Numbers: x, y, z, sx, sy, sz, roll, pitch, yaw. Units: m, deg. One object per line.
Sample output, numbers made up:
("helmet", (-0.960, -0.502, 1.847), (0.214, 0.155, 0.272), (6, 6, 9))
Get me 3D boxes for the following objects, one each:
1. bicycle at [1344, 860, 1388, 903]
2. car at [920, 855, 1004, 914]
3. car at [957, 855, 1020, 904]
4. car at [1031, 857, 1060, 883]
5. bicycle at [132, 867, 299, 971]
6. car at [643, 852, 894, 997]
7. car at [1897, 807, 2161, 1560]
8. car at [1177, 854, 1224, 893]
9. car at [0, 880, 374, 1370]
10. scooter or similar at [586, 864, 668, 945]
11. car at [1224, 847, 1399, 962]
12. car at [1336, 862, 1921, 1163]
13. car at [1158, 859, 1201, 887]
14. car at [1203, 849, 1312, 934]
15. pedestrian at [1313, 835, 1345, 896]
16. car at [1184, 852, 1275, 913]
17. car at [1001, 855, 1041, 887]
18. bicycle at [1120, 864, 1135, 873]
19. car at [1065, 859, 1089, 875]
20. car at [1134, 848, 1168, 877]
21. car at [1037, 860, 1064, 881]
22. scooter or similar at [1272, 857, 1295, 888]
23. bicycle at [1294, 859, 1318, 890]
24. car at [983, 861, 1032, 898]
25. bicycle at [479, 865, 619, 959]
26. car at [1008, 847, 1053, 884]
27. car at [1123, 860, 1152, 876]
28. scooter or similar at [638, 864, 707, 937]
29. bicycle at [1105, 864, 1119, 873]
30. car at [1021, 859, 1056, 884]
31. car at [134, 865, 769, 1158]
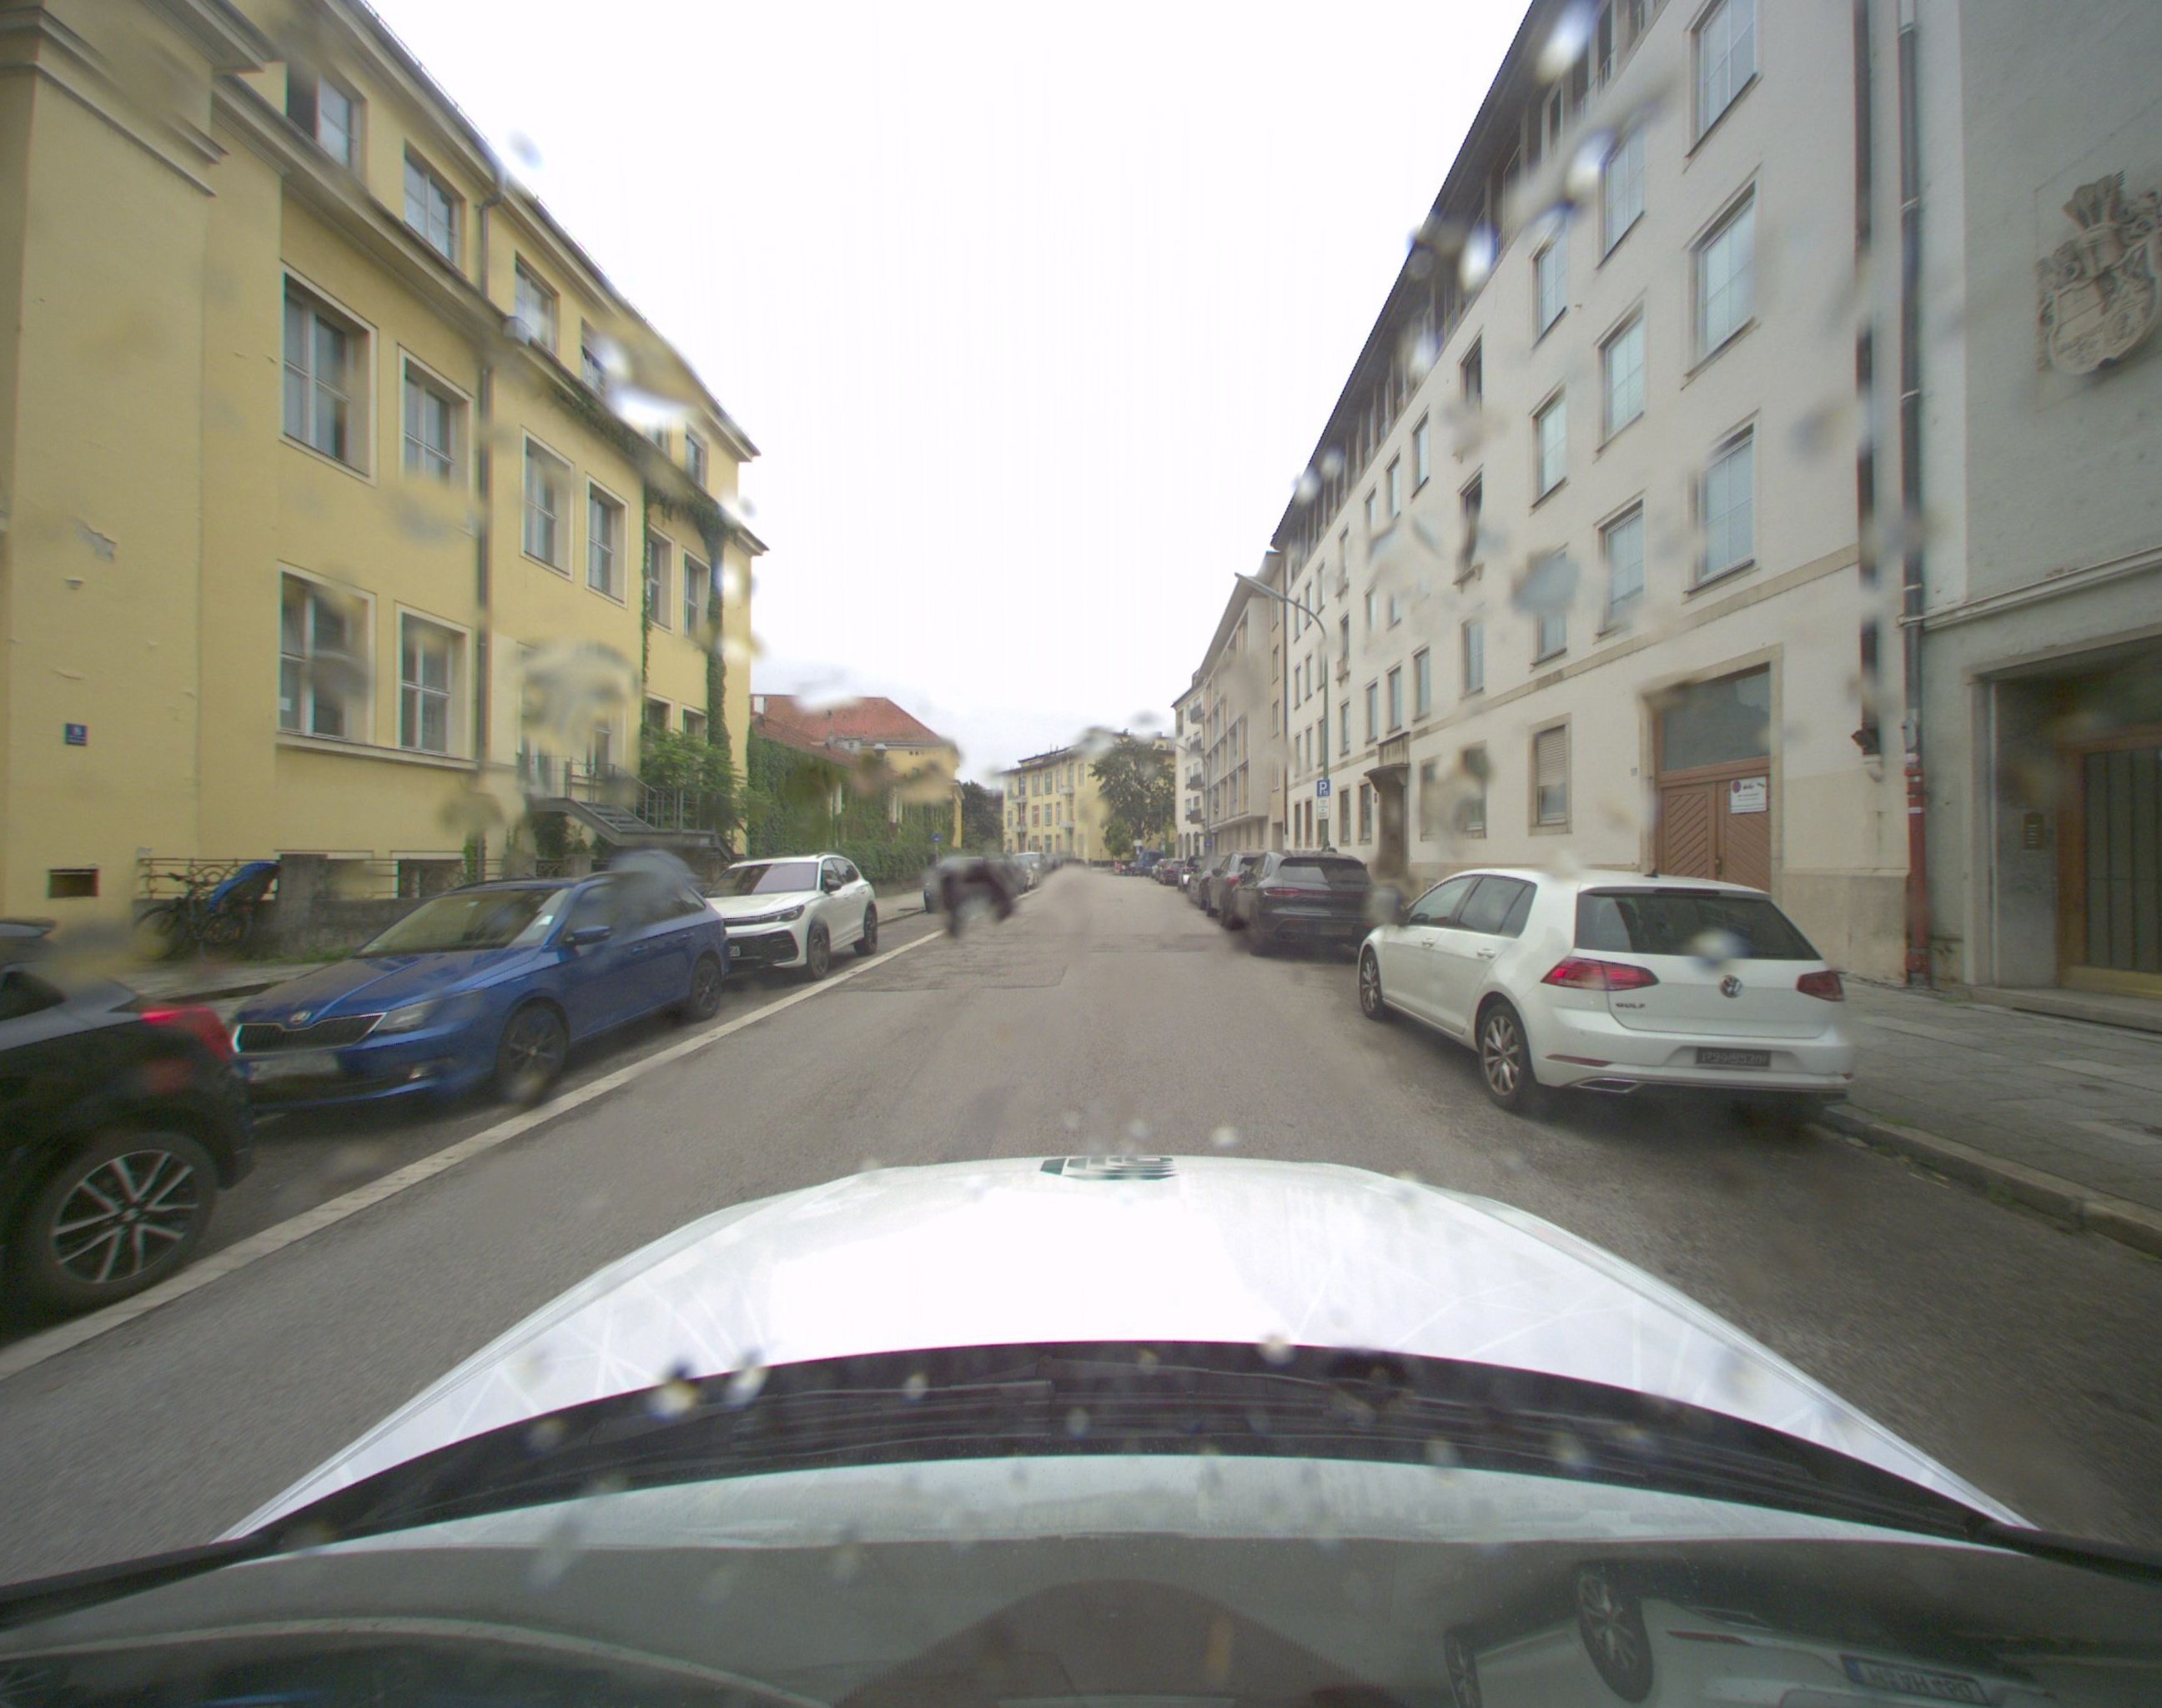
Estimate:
("bicycle", (8.636, 0.808, 24.744), (0.511, 1.222, 1.985), (0, 0, -4))
("car", (-3.588, 0.887, 25.476), (1.783, 1.586, 4.818), (-3, 0, 1))
("car", (-3.357, 0.900, 30.331), (1.718, 1.629, 4.466), (-2, -1, 1))
("car", (-2.419, 1.108, 56.415), (1.691, 1.643, 4.491), (-3, -1, 1))
("bicycle", (-11.021, 0.815, 10.387), (1.619, 1.268, 0.527), (-1, 0, 3))
("car", (-4.178, 0.828, 11.854), (1.740, 1.634, 4.855), (-1, 0, 0))
("car", (3.164, 0.720, 0.119), (1.701, 1.592, 4.360), (1, 0, -1))
("car", (4.952, 0.796, 34.038), (1.643, 1.495, 2.883), (3, 0, 3))
("car", (-4.294, 0.909, 1.771), (1.692, 1.497, 4.151), (-4, -1, 2))
("scooter or similar", (-8.152, 0.876, 14.689), (0.558, 1.369, 1.502), (-1, 0, 3))
("car", (3.561, 0.702, 13.484), (1.831, 1.522, 4.714), (1, 0, 4))
("car", (3.424, 0.803, 6.313), (1.666, 1.429, 4.533), (2, 0, 3))
("car", (5.353, 1.027, 44.830), (1.739, 1.388, 4.953), (2, 0, 1))
("car", (3.841, 0.757, 18.443), (1.638, 1.589, 4.637), (3, 0, 3))
("pedestrian", (7.345, 0.356, 24.178), (0.720, 1.763, 0.905), (0, -3, 3))
("car", (4.182, 0.760, 23.746), (1.795, 1.484, 5.322), (3, 0, 2))
("car", (-2.962, 0.837, 40.659), (1.585, 1.441, 4.019), (-3, -1, 1))
("bicycle", (6.119, 1.906, 108.155), (1.907, 1.201, 0.598), (0, -1, 16))
("car", (-0.543, 1.738, 108.612), (1.768, 1.874, 4.350), (4, -1, -19))
("car", (6.092, 0.771, 71.836), (2.075, 2.234, 5.236), (4, -3, -4))
("car", (-2.283, 1.229, 61.721), (1.688, 1.393, 4.501), (-4, -1, 1))
("scooter or similar", (9.198, 0.848, 37.040), (0.439, 1.359, 1.585), (1, -3, -9))
("bicycle", (9.003, 0.812, 32.644), (0.527, 1.218, 2.105), (0, -1, 4))
("car", (-3.128, 1.050, 35.401), (1.598, 1.430, 4.252), (-3, -1, 1))
("bicycle", (-8.193, 0.836, 12.672), (0.678, 1.328, 2.114), (0, -1, 3))
("car", (-2.786, 0.660, 46.041), (1.879, 1.889, 4.778), (-3, -1, 3))
("car", (5.388, 1.369, 78.001), (1.677, 1.389, 4.291), (4, -1, -10))
("scooter or similar", (-8.116, 0.890, 16.241), (0.558, 1.369, 1.502), (-1, 0, 3))
("bicycle", (4.215, 1.970, 109.417), (1.903, 1.201, 0.599), (0, -1, 39))
("car", (-2.651, 1.076, 51.658), (1.646, 1.414, 4.774), (-3, -1, 3))
("car", (-4.457, 0.926, 6.890), (1.697, 1.502, 4.495), (-5, -1, 1))
